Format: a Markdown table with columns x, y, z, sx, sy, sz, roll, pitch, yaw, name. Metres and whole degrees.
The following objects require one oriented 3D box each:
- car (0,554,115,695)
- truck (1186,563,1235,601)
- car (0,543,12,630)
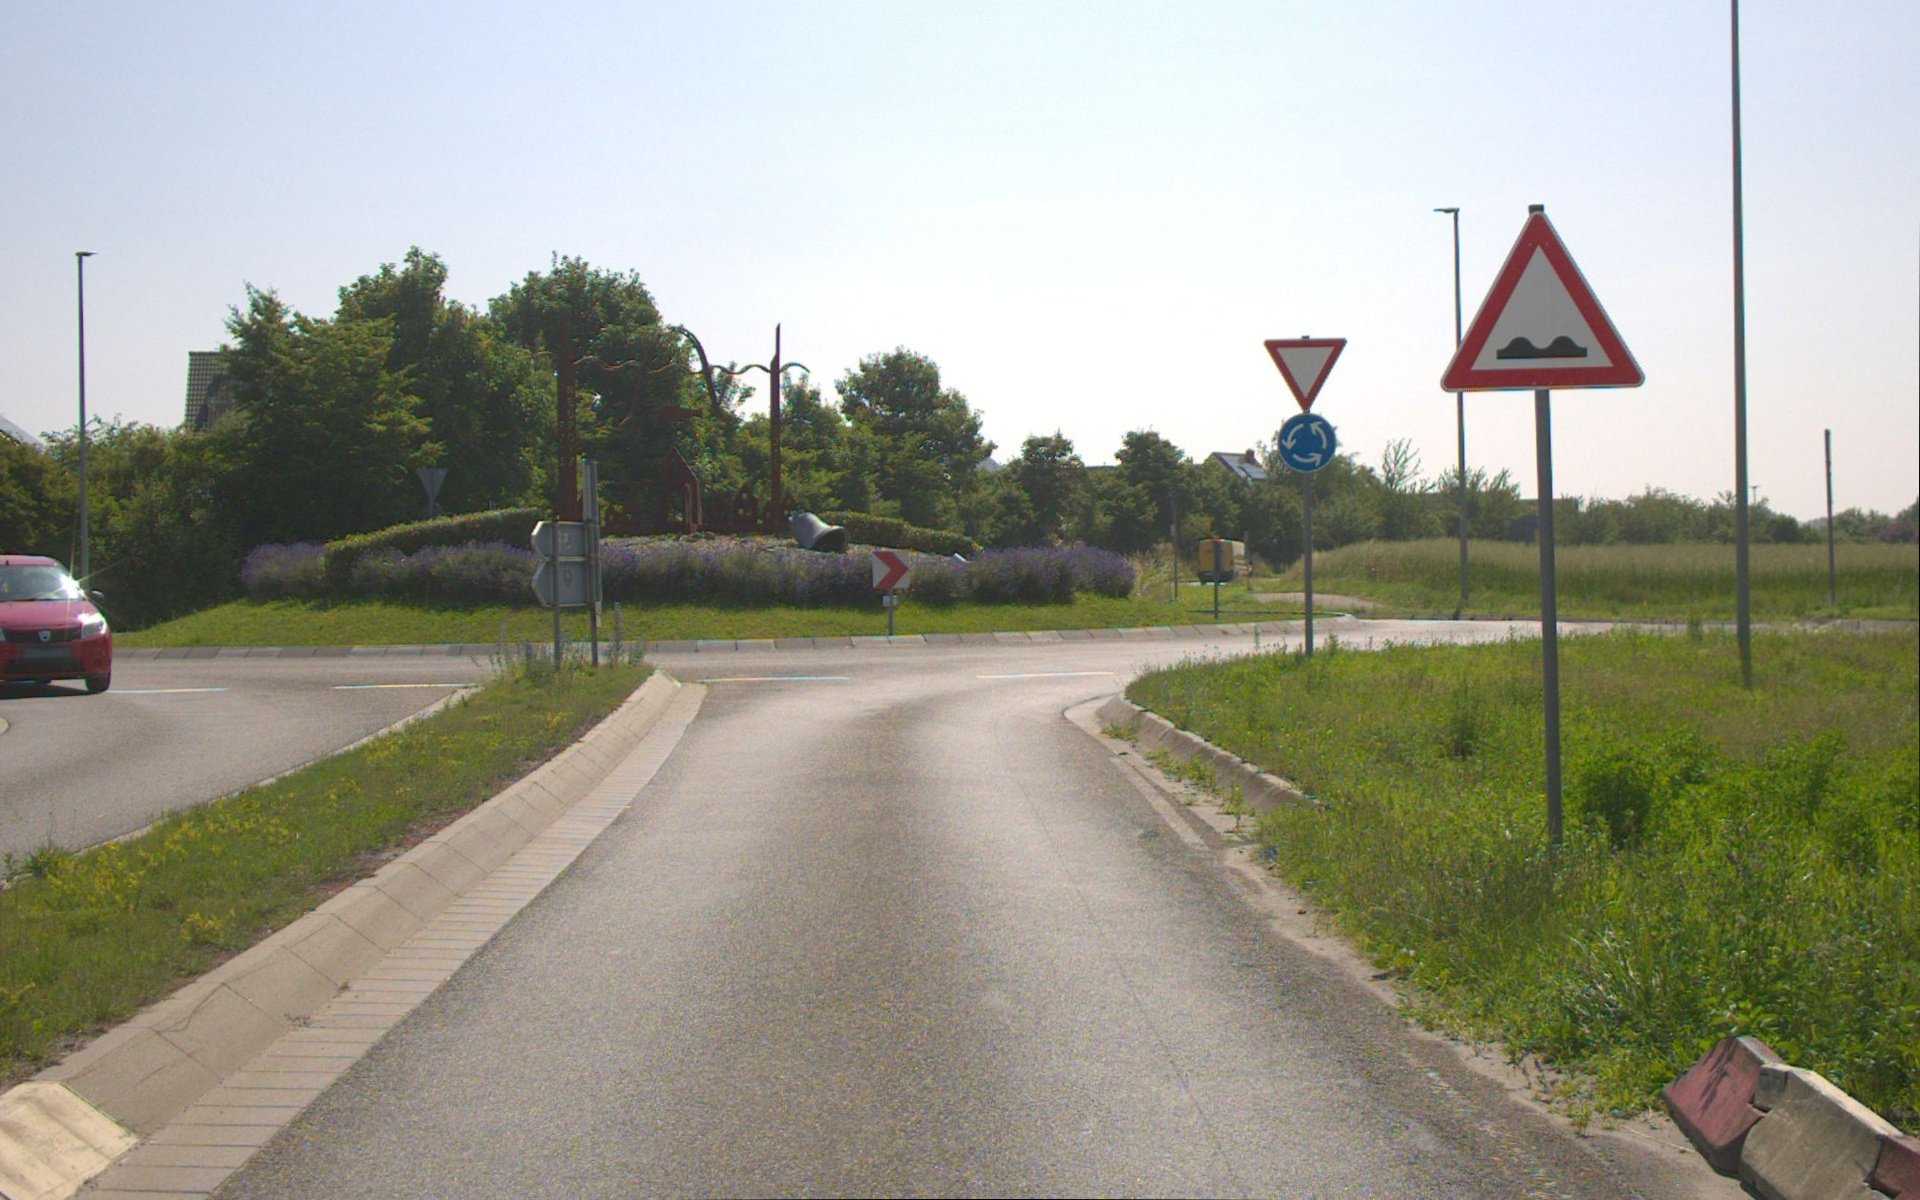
| x | y | z | sx | sy | sz | roll | pitch | yaw | name |
| --- | --- | --- | --- | --- | --- | --- | --- | --- | --- |
| -10.759 | 0.300 | 38.729 | 1.627 | 1.486 | 3.803 | -1 | 0 | -26 | car |
| 13.730 | -0.967 | 188.083 | 1.995 | 2.007 | 3.997 | 0 | -1 | 14 | truck |
| -17.807 | -0.180 | 58.320 | 1.745 | 1.517 | 3.829 | -2 | 1 | 11 | car |
